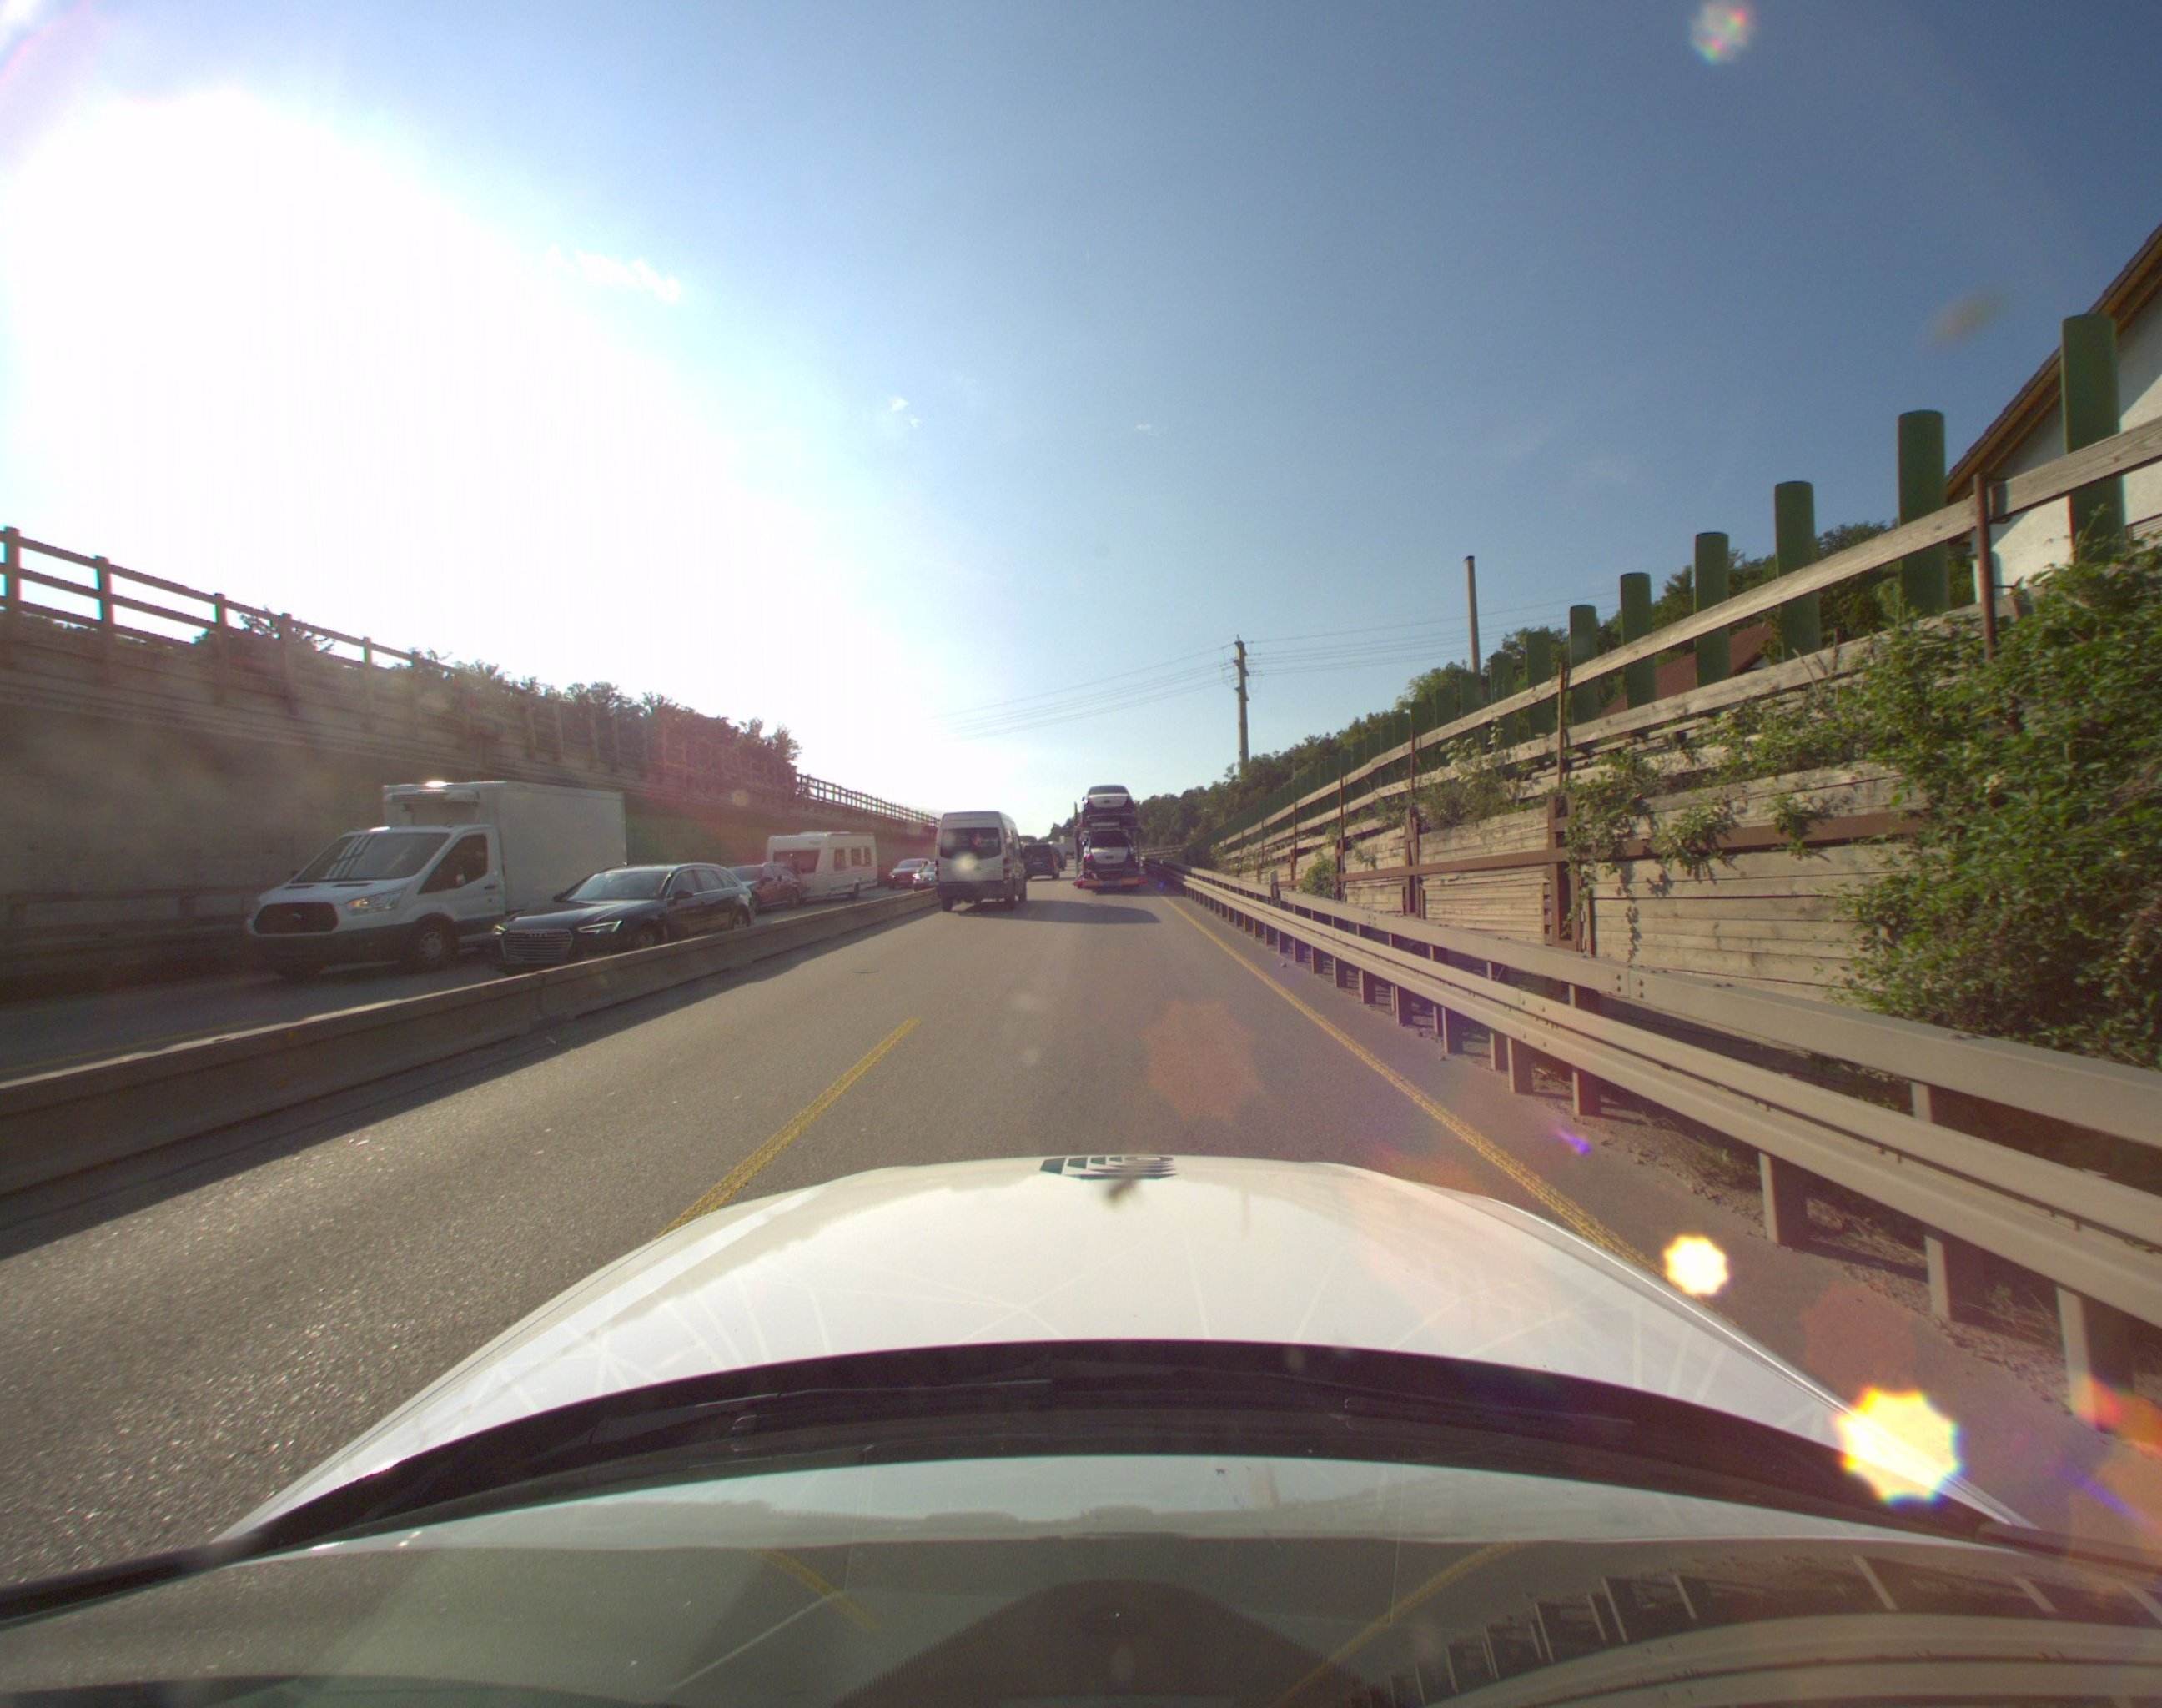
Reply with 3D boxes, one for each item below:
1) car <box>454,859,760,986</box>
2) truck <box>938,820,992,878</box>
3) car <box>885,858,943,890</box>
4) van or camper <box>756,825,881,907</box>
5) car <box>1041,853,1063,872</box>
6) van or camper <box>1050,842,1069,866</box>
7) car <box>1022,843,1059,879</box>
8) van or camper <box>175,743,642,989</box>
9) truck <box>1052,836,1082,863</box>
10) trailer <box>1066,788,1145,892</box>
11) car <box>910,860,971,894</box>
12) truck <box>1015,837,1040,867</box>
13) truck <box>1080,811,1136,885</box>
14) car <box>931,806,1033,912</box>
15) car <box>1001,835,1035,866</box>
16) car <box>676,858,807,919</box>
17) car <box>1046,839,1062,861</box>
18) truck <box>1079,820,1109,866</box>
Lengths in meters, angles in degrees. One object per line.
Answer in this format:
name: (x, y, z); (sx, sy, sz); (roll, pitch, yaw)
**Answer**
car: (-6.496, 0.829, 11.882); (1.758, 1.450, 4.460); (0, 0, 1)
truck: (-8.983, -0.376, 64.278); (2.615, 4.112, 9.627); (-3, 0, 0)
car: (-8.760, 1.015, 43.228); (1.965, 1.421, 4.900); (-3, 0, 0)
van or camper: (-9.659, 0.402, 30.704); (2.303, 2.662, 6.457); (-2, 0, 2)
car: (-2.436, 0.707, 69.069); (1.719, 1.522, 3.973); (0, 0, 1)
van or camper: (-2.279, 0.043, 88.273); (1.962, 2.592, 5.038); (0, -1, -1)
car: (-2.187, 0.405, 45.366); (1.802, 1.904, 4.000); (0, -1, 1)
van or camper: (-10.044, 0.203, 13.233); (2.311, 2.989, 6.223); (-2, -1, 1)
truck: (-2.625, -0.739, 145.482); (4.063, 4.679, 10.561); (-1, 0, -8)
trailer: (1.153, -0.365, 35.214); (2.672, 3.535, 15.296); (0, -1, 2)
car: (-5.935, 0.941, 34.862); (1.775, 1.325, 4.240); (-1, 0, 1)
truck: (-7.689, -0.225, 118.553); (2.974, 4.153, 15.845); (0, 0, -1)
truck: (1.466, -0.235, 42.726); (2.672, 3.535, 7.197); (0, -1, 2)
car: (-2.684, 0.135, 23.440); (1.986, 2.648, 5.533); (-1, 0, 2)
car: (-5.338, -0.291, 69.525); (2.462, 2.534, 4.001); (-1, -1, 1)
car: (-9.684, 0.922, 23.688); (1.634, 1.531, 4.785); (-2, 0, 2)
car: (-6.371, -0.803, 189.711); (3.438, 5.035, 9.639); (0, 0, -4)
truck: (1.298, -1.083, 84.441); (2.899, 4.606, 7.283); (-1, 0, -1)
